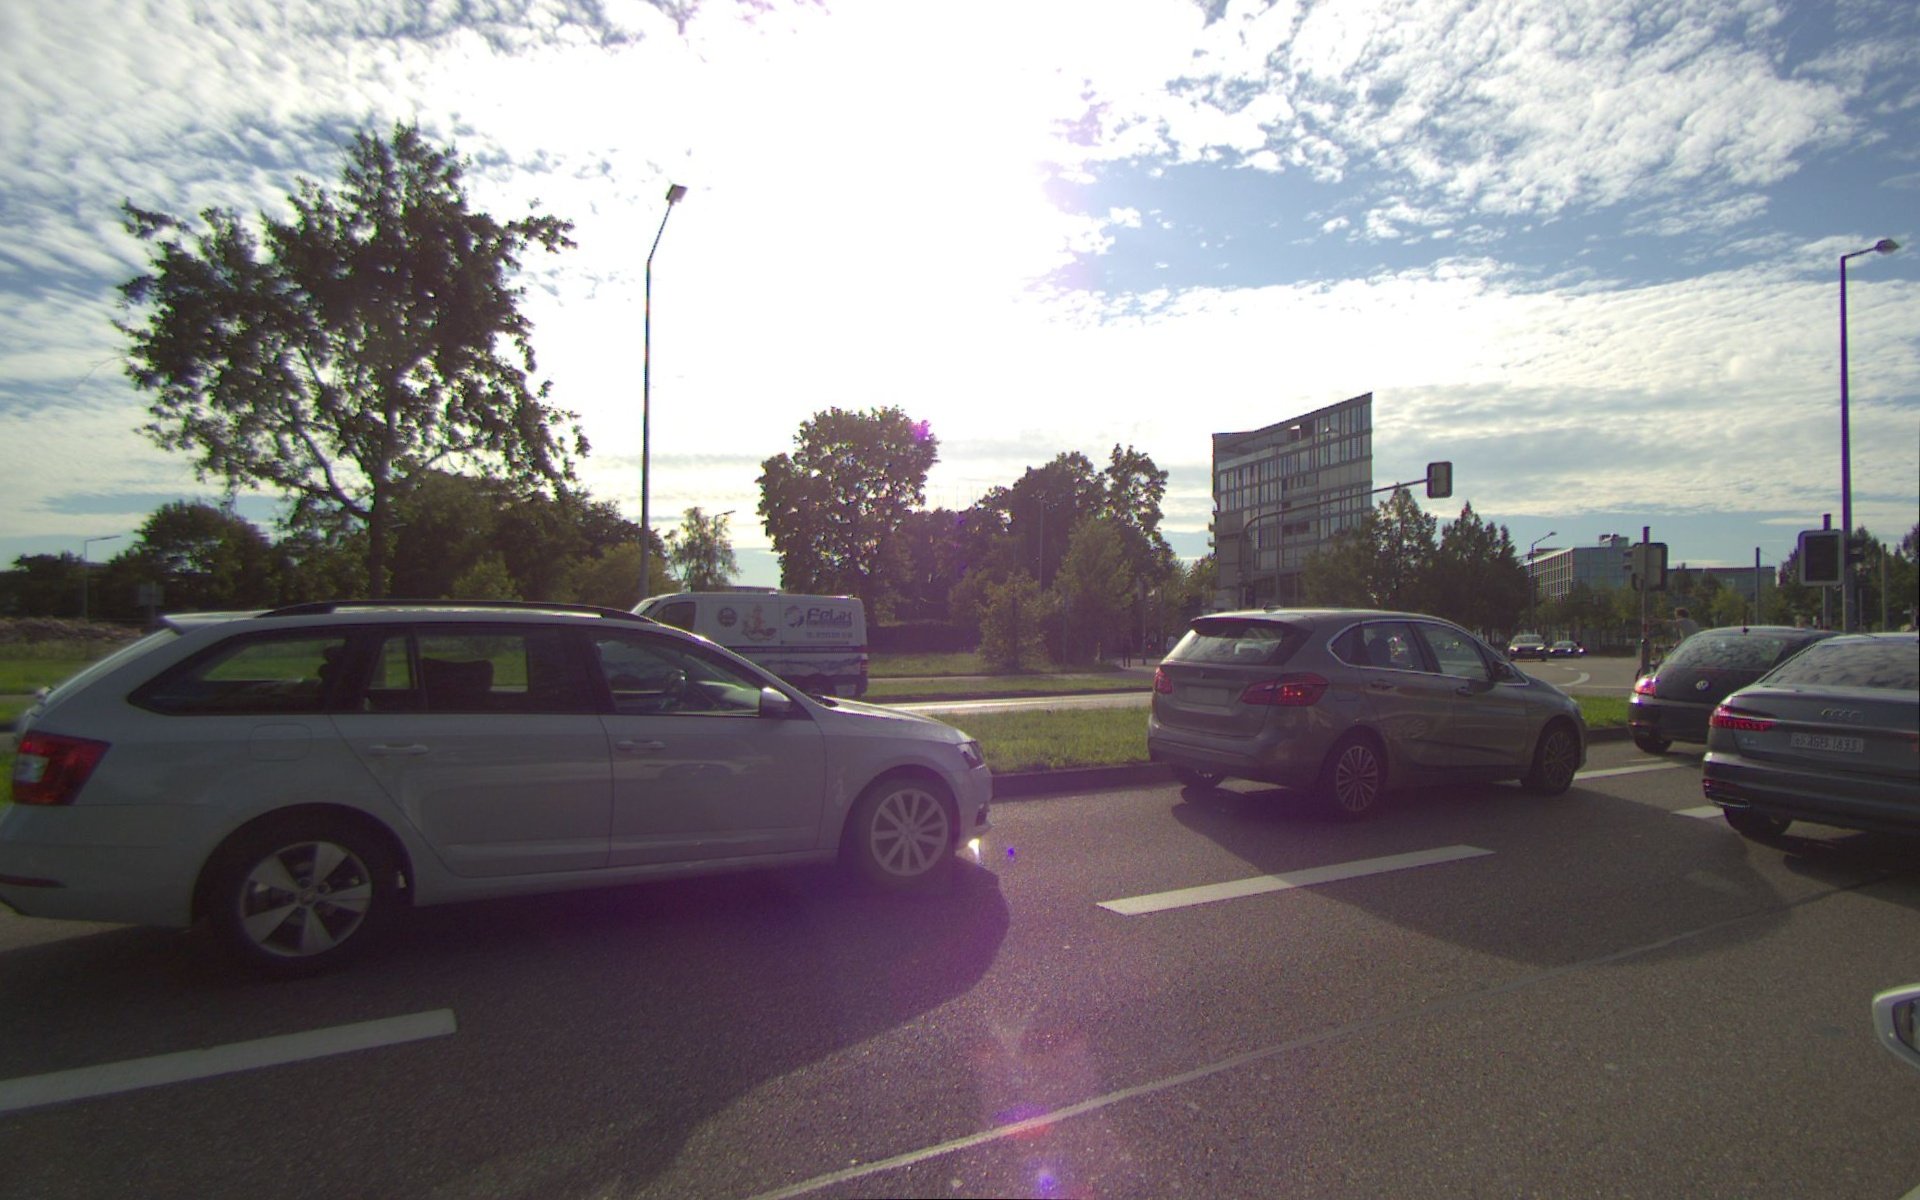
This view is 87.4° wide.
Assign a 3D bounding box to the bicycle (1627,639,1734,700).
[{"bbox_3d":[14.700,1.399,20.520,1.707,1.179,0.652,-1,-2,45],"label":"bicycle"}]

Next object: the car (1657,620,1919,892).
[{"bbox_3d":[7.130,0.947,7.111,4.559,1.502,1.881,2,-1,-31],"label":"car"}]

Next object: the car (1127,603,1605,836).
[{"bbox_3d":[3.529,0.864,8.579,3.971,1.579,1.721,2,-1,-30],"label":"car"}]

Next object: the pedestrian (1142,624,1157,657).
[{"bbox_3d":[11.895,2.527,63.097,0.863,2.040,0.936,0,-2,8],"label":"pedestrian"}]

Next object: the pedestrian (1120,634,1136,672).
[{"bbox_3d":[7.468,2.341,44.713,0.581,1.602,0.580,4,2,13],"label":"pedestrian"}]

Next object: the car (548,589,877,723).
[{"bbox_3d":[-4.652,1.065,19.347,5.857,2.264,1.984,1,-4,-31],"label":"car"}]

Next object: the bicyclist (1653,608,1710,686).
[{"bbox_3d":[14.729,0.963,20.514,0.840,1.546,0.736,-2,-3,44],"label":"bicyclist"}]

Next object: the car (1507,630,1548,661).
[{"bbox_3d":[30.810,2.445,54.502,1.682,1.594,3.990,-1,-2,33],"label":"car"}]

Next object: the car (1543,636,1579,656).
[{"bbox_3d":[48.764,3.699,81.520,1.767,1.595,3.978,-2,-3,42],"label":"car"}]

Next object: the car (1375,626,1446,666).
[{"bbox_3d":[20.993,2.140,46.980,1.677,1.793,4.002,0,-2,2],"label":"car"}]

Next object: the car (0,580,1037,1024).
[{"bbox_3d":[-1.899,0.760,5.249,4.429,1.518,1.690,2,-1,-31],"label":"car"}]

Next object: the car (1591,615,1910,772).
[{"bbox_3d":[9.213,0.981,11.653,3.766,1.543,1.672,2,-1,-31],"label":"car"}]

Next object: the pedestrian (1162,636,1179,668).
[{"bbox_3d":[10.577,2.600,50.455,0.606,1.589,0.654,1,-2,-21],"label":"pedestrian"}]
